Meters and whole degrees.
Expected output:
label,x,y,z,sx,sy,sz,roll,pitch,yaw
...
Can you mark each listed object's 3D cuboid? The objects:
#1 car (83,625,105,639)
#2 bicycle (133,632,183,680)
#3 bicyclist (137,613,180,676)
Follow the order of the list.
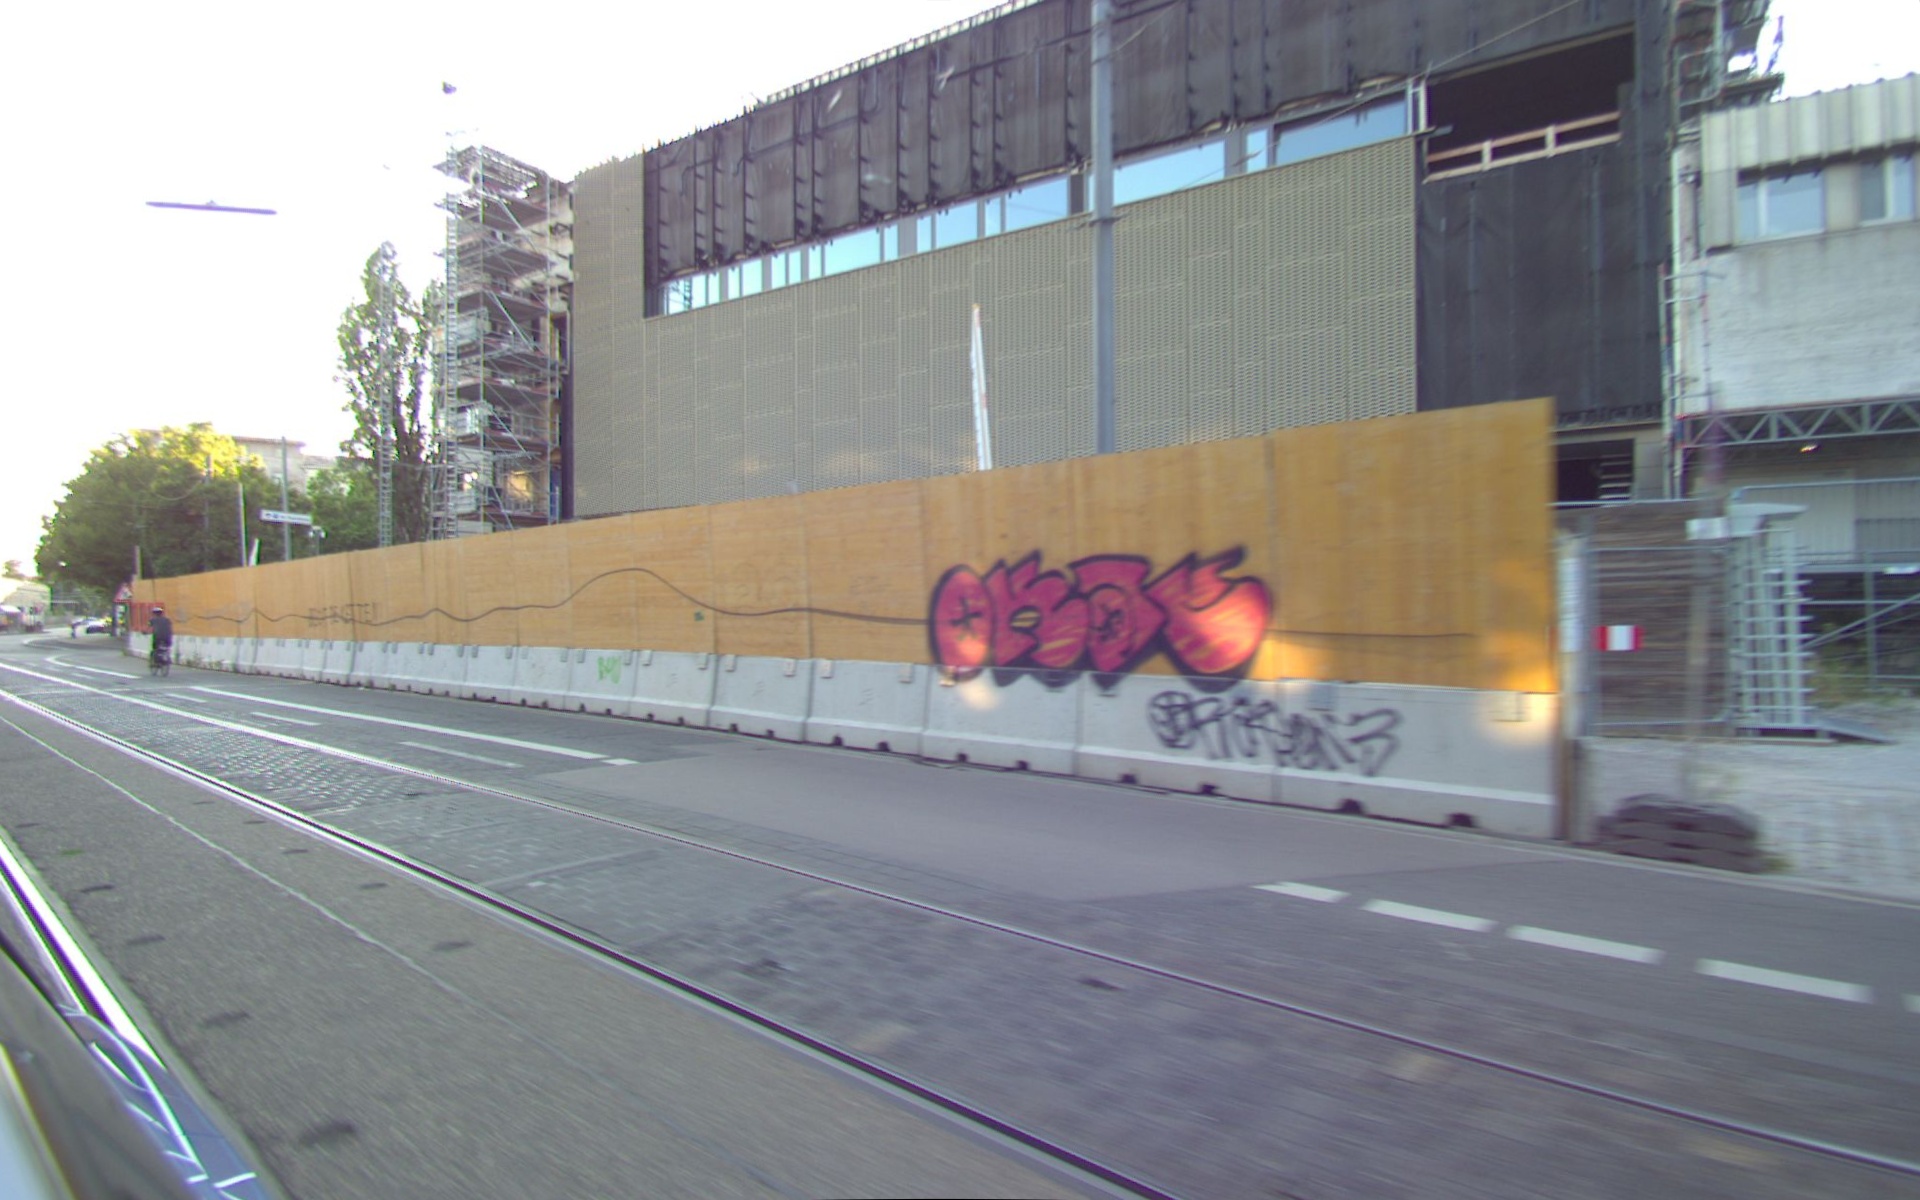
label,x,y,z,sx,sy,sz,roll,pitch,yaw
car,-110.468,4.075,129.075,1.968,1.697,4.008,0,-2,-38
bicycle,-21.860,1.505,27.579,1.935,1.237,0.760,-2,-2,42
bicyclist,-21.818,1.198,27.550,1.018,1.678,0.760,-2,-2,41
